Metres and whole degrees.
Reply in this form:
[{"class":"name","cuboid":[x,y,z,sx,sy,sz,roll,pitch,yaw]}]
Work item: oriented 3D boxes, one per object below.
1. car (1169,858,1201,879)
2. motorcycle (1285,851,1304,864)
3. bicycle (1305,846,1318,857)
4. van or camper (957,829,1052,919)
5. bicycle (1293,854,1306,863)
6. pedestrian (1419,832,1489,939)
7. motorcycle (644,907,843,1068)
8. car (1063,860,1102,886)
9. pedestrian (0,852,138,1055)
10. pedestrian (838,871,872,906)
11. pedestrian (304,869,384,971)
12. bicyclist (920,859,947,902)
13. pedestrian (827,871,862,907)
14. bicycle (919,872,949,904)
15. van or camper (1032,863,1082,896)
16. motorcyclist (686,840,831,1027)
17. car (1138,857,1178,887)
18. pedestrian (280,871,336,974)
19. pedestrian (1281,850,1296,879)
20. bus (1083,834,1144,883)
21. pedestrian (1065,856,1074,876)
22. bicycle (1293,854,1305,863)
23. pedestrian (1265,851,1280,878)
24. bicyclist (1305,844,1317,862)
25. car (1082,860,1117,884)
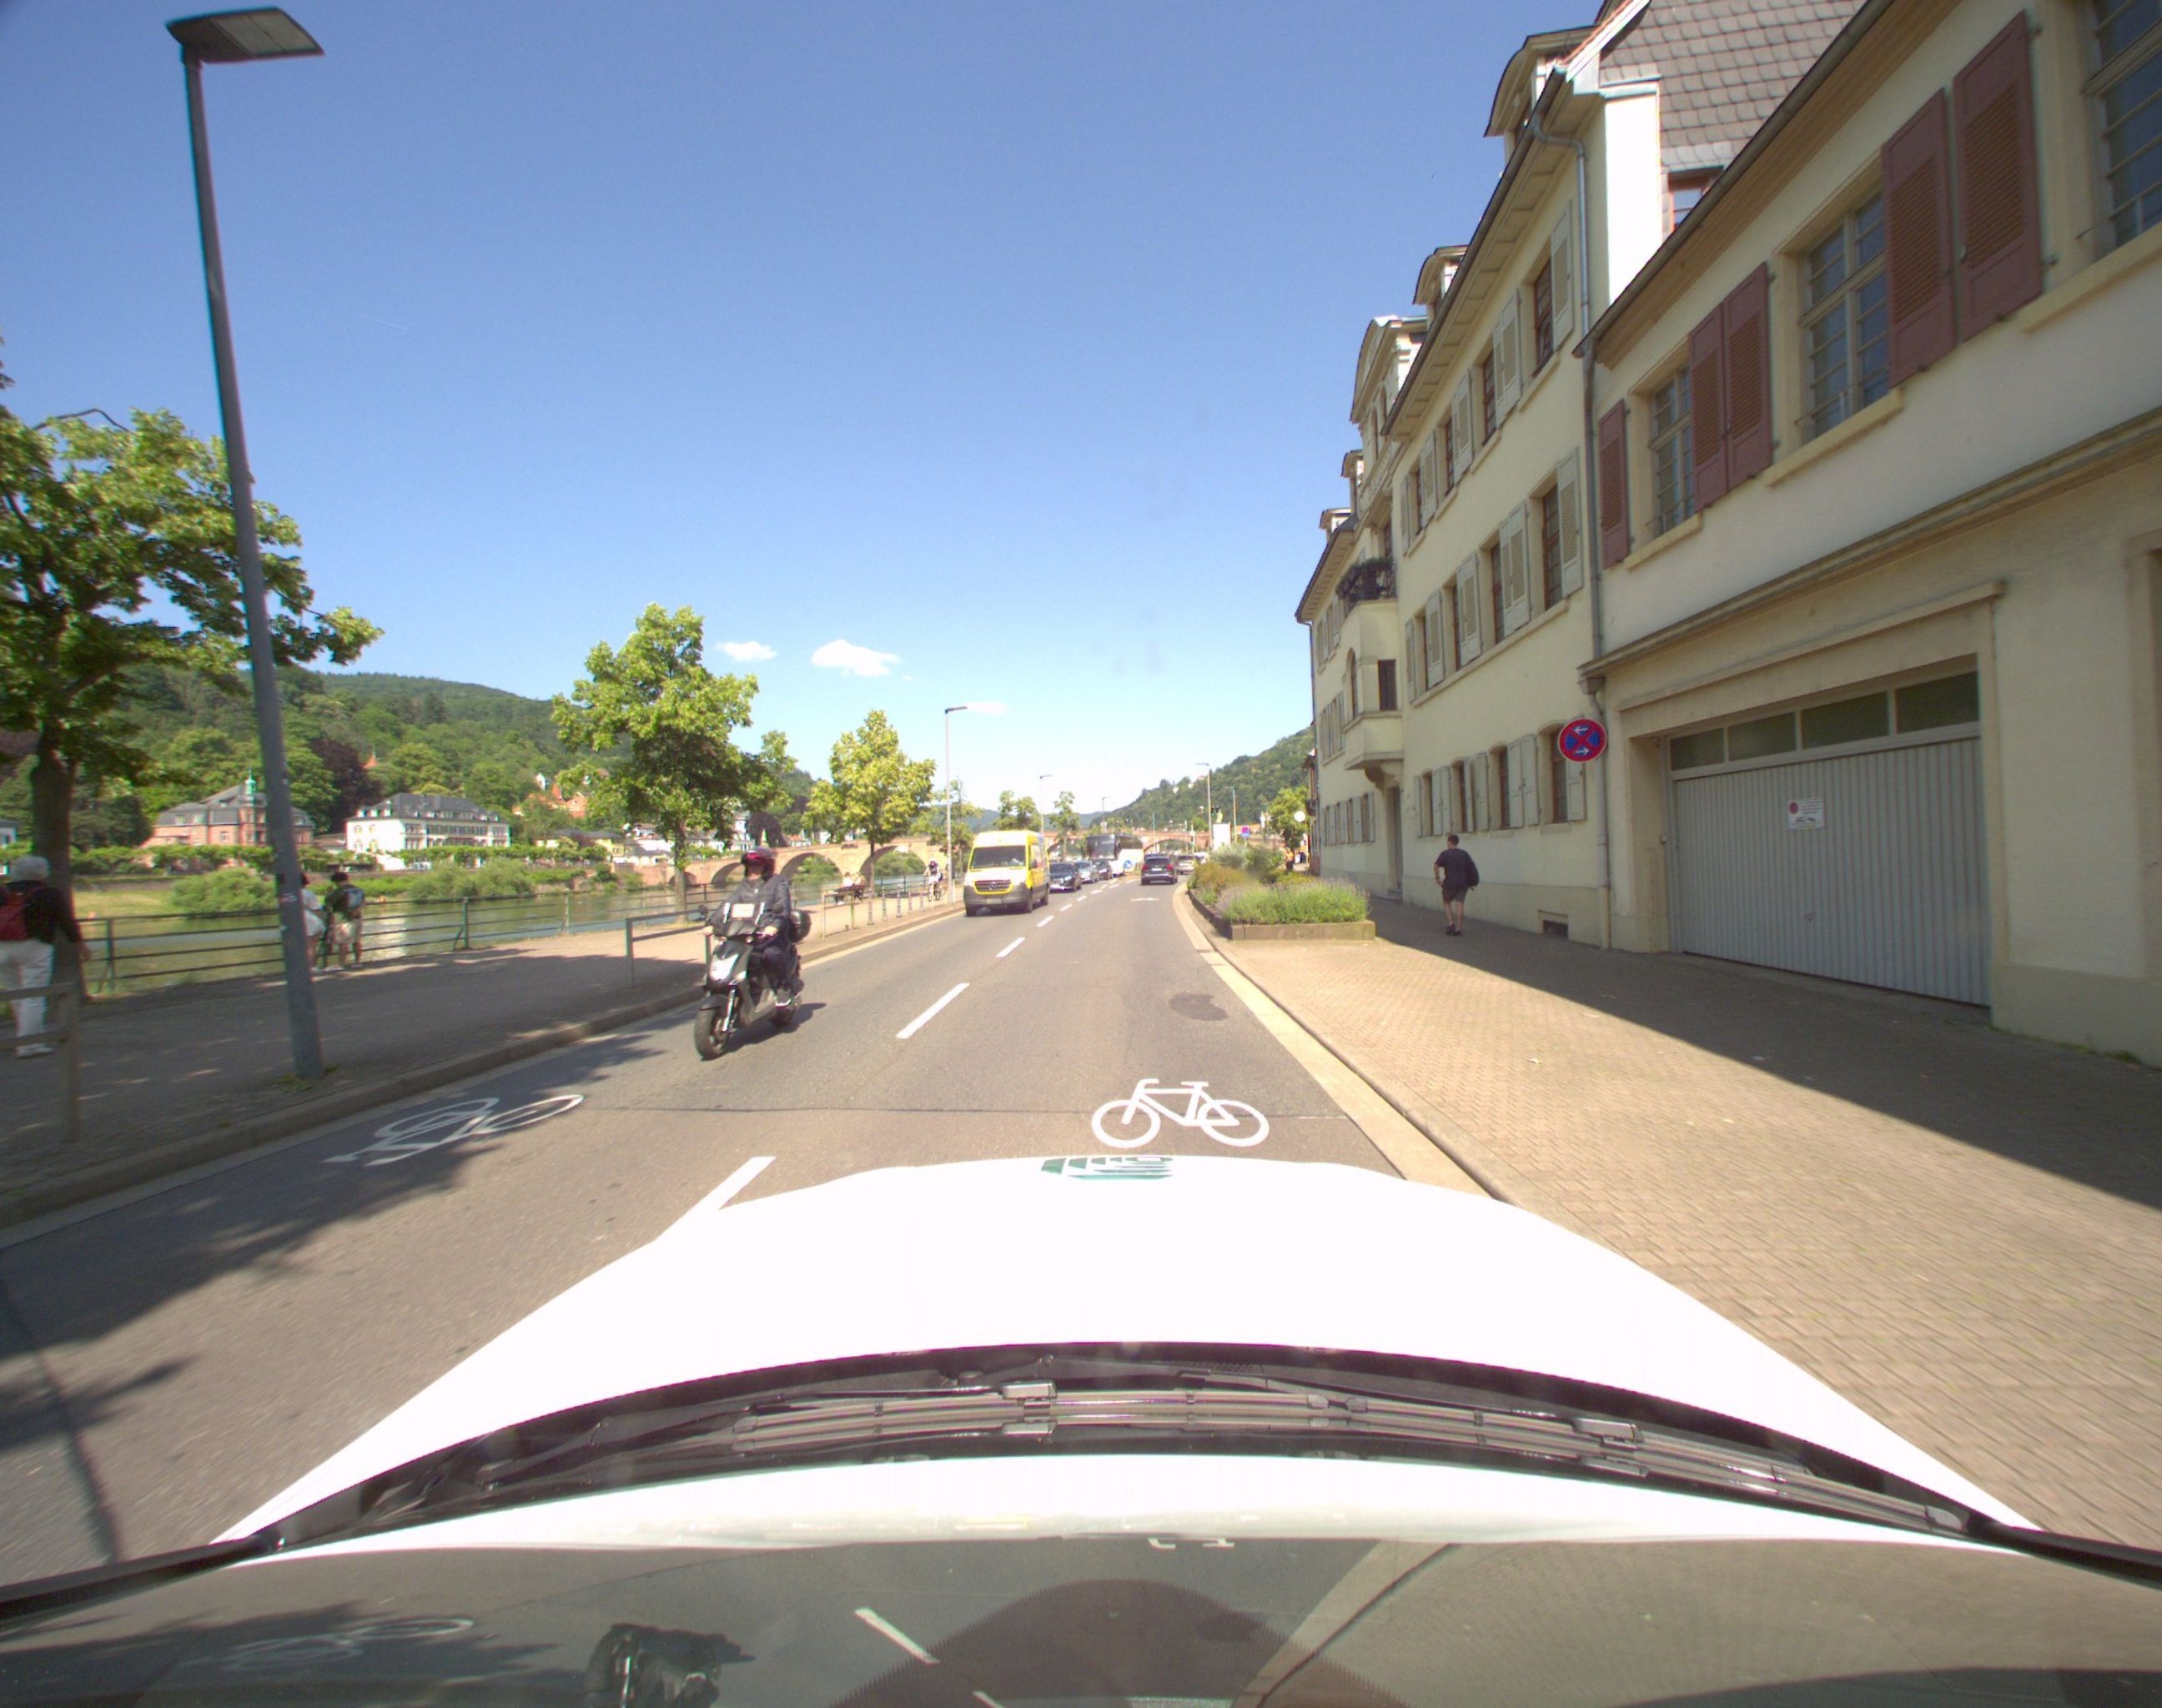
[{"class":"car","cuboid":[8.104,1.065,62.866,1.913,1.461,4.849,-2,0,13]},{"class":"motorcycle","cuboid":[27.181,0.428,103.654,0.767,1.465,2.275,-2,-2,-32]},{"class":"bicycle","cuboid":[20.823,-0.224,73.735,0.746,0.964,1.784,-2,-1,4]},{"class":"van or camper","cuboid":[-2.350,0.610,27.156,2.079,2.557,7.096,-2,-1,3]},{"class":"bicycle","cuboid":[28.840,0.566,107.490,1.474,1.120,0.251,-4,-1,11]},{"class":"pedestrian","cuboid":[6.313,0.519,13.825,0.758,1.713,0.697,-5,-1,4]},{"class":"motorcycle","cuboid":[-2.950,1.109,7.469,0.881,1.077,2.326,-3,-1,-2]},{"class":"car","cuboid":[0.139,1.168,51.116,1.804,1.428,4.319,-4,0,7]},{"class":"pedestrian","cuboid":[-9.019,0.826,7.134,0.658,1.682,0.754,1,-1,-18]},{"class":"pedestrian","cuboid":[-8.612,1.295,31.100,0.931,1.281,0.852,-2,-1,10]},{"class":"pedestrian","cuboid":[-12.200,1.071,13.493,0.689,1.616,0.665,-2,-1,9]},{"class":"bicyclist","cuboid":[-5.887,1.054,32.530,0.737,1.667,1.090,-2,0,3]},{"class":"pedestrian","cuboid":[-8.774,1.301,30.199,0.931,1.281,0.852,-2,-1,10]},{"class":"bicycle","cuboid":[-5.874,1.336,32.605,0.708,1.168,1.897,-2,0,3]},{"class":"van or camper","cuboid":[-1.136,1.239,40.884,1.985,1.454,4.687,-4,-1,4]},{"class":"motorcyclist","cuboid":[-2.937,0.691,7.534,0.875,1.583,1.025,-2,-1,0]},{"class":"car","cuboid":[4.320,0.954,45.007,1.916,1.553,4.842,-2,0,8]},{"class":"pedestrian","cuboid":[-12.252,1.072,12.915,0.412,1.597,0.452,-2,-1,9]},{"class":"pedestrian","cuboid":[12.474,0.627,48.985,0.733,1.698,0.936,-3,-1,9]},{"class":"bus","cuboid":[2.948,0.417,67.889,2.613,3.564,13.027,-2,-1,13]},{"class":"pedestrian","cuboid":[-1.054,1.096,73.349,0.616,1.780,0.664,-2,-1,9]},{"class":"bicycle","cuboid":[28.862,0.608,107.737,1.474,1.047,0.251,-4,-1,11]},{"class":"pedestrian","cuboid":[11.562,0.614,49.132,0.757,1.595,0.698,-2,-1,9]},{"class":"bicyclist","cuboid":[20.839,-0.062,73.871,0.763,1.583,1.090,-2,-1,3]},{"class":"car","cuboid":[1.309,1.222,56.607,1.806,1.429,4.203,-3,0,8]}]
